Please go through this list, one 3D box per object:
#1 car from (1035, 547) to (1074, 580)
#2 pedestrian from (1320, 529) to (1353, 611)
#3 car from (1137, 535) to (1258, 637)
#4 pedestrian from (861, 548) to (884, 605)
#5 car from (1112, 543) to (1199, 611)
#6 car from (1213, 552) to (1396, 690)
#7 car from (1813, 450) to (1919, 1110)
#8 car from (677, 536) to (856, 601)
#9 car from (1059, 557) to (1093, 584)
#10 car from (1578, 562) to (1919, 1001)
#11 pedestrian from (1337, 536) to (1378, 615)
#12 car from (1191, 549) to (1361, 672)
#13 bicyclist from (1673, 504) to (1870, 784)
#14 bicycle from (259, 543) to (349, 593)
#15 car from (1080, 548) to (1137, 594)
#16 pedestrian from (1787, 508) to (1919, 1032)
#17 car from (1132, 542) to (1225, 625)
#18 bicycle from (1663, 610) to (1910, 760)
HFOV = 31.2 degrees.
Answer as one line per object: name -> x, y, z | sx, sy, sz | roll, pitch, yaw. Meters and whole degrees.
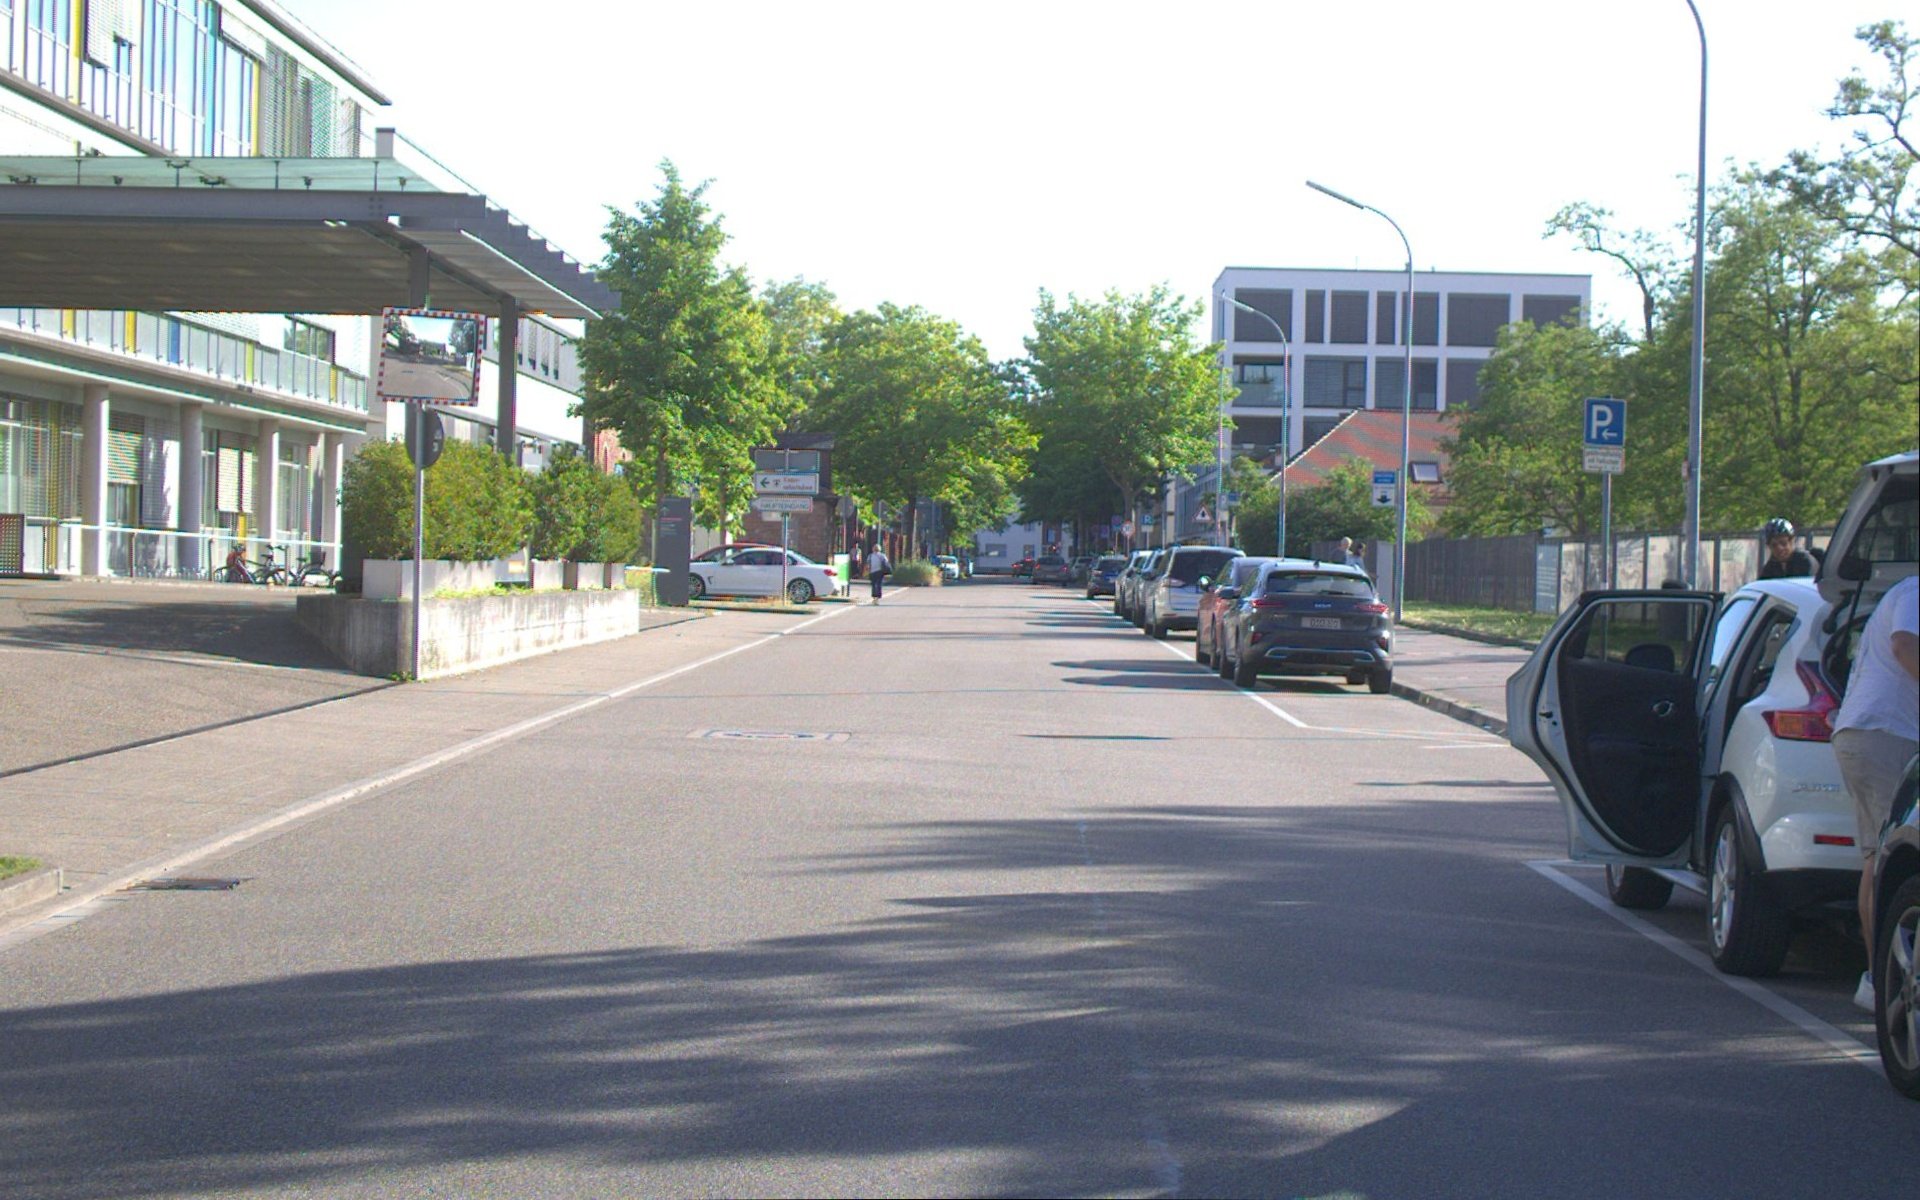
car -> 4.636, -1.798, 169.657 | 1.767, 1.543, 4.066 | 1, 1, 0
pedestrian -> 7.956, -0.639, 72.608 | 0.521, 1.702, 0.522 | 3, 0, -1
car -> 4.351, -0.289, 63.622 | 1.809, 1.716, 4.704 | 3, 1, 0
pedestrian -> -2.337, -0.638, 91.940 | 0.538, 1.518, 0.607 | 1, 1, 2
car -> 4.888, -0.600, 86.399 | 1.813, 1.583, 4.262 | 3, 1, -1
car -> 4.088, 0.211, 41.393 | 1.701, 1.482, 4.215 | 3, 1, 0
car -> 3.735, 0.580, 8.223 | 1.864, 1.863, 5.023 | 3, 1, -2
car -> -5.007, -0.818, 89.036 | 4.511, 1.362, 1.700 | 4, 1, -4
car -> 6.865, -1.762, 204.361 | 1.950, 1.573, 3.836 | 2, 1, 2
car -> 3.758, 0.650, 14.254 | 1.664, 1.508, 4.114 | 3, 1, 1
pedestrian -> 8.316, -0.518, 71.974 | 0.681, 1.606, 0.541 | 3, 0, -1
car -> 4.273, 0.100, 47.174 | 1.809, 1.505, 4.722 | 3, 1, 0
bicyclist -> 6.004, 0.302, 25.440 | 1.049, 2.006, 0.959 | -2, 2, -34
bicycle -> -13.455, -0.664, 70.519 | 1.715, 0.990, 0.536 | 1, 1, 0
car -> 4.899, -0.964, 113.962 | 1.818, 1.448, 4.214 | 1, 1, 2
pedestrian -> 3.251, 0.573, 11.909 | 0.589, 1.740, 0.704 | 3, 1, 19
car -> 4.589, -0.375, 72.828 | 1.700, 1.601, 4.353 | 3, 1, 1
bicycle -> 6.150, 0.616, 25.550 | 1.879, 1.005, 0.701 | -2, 2, -34
